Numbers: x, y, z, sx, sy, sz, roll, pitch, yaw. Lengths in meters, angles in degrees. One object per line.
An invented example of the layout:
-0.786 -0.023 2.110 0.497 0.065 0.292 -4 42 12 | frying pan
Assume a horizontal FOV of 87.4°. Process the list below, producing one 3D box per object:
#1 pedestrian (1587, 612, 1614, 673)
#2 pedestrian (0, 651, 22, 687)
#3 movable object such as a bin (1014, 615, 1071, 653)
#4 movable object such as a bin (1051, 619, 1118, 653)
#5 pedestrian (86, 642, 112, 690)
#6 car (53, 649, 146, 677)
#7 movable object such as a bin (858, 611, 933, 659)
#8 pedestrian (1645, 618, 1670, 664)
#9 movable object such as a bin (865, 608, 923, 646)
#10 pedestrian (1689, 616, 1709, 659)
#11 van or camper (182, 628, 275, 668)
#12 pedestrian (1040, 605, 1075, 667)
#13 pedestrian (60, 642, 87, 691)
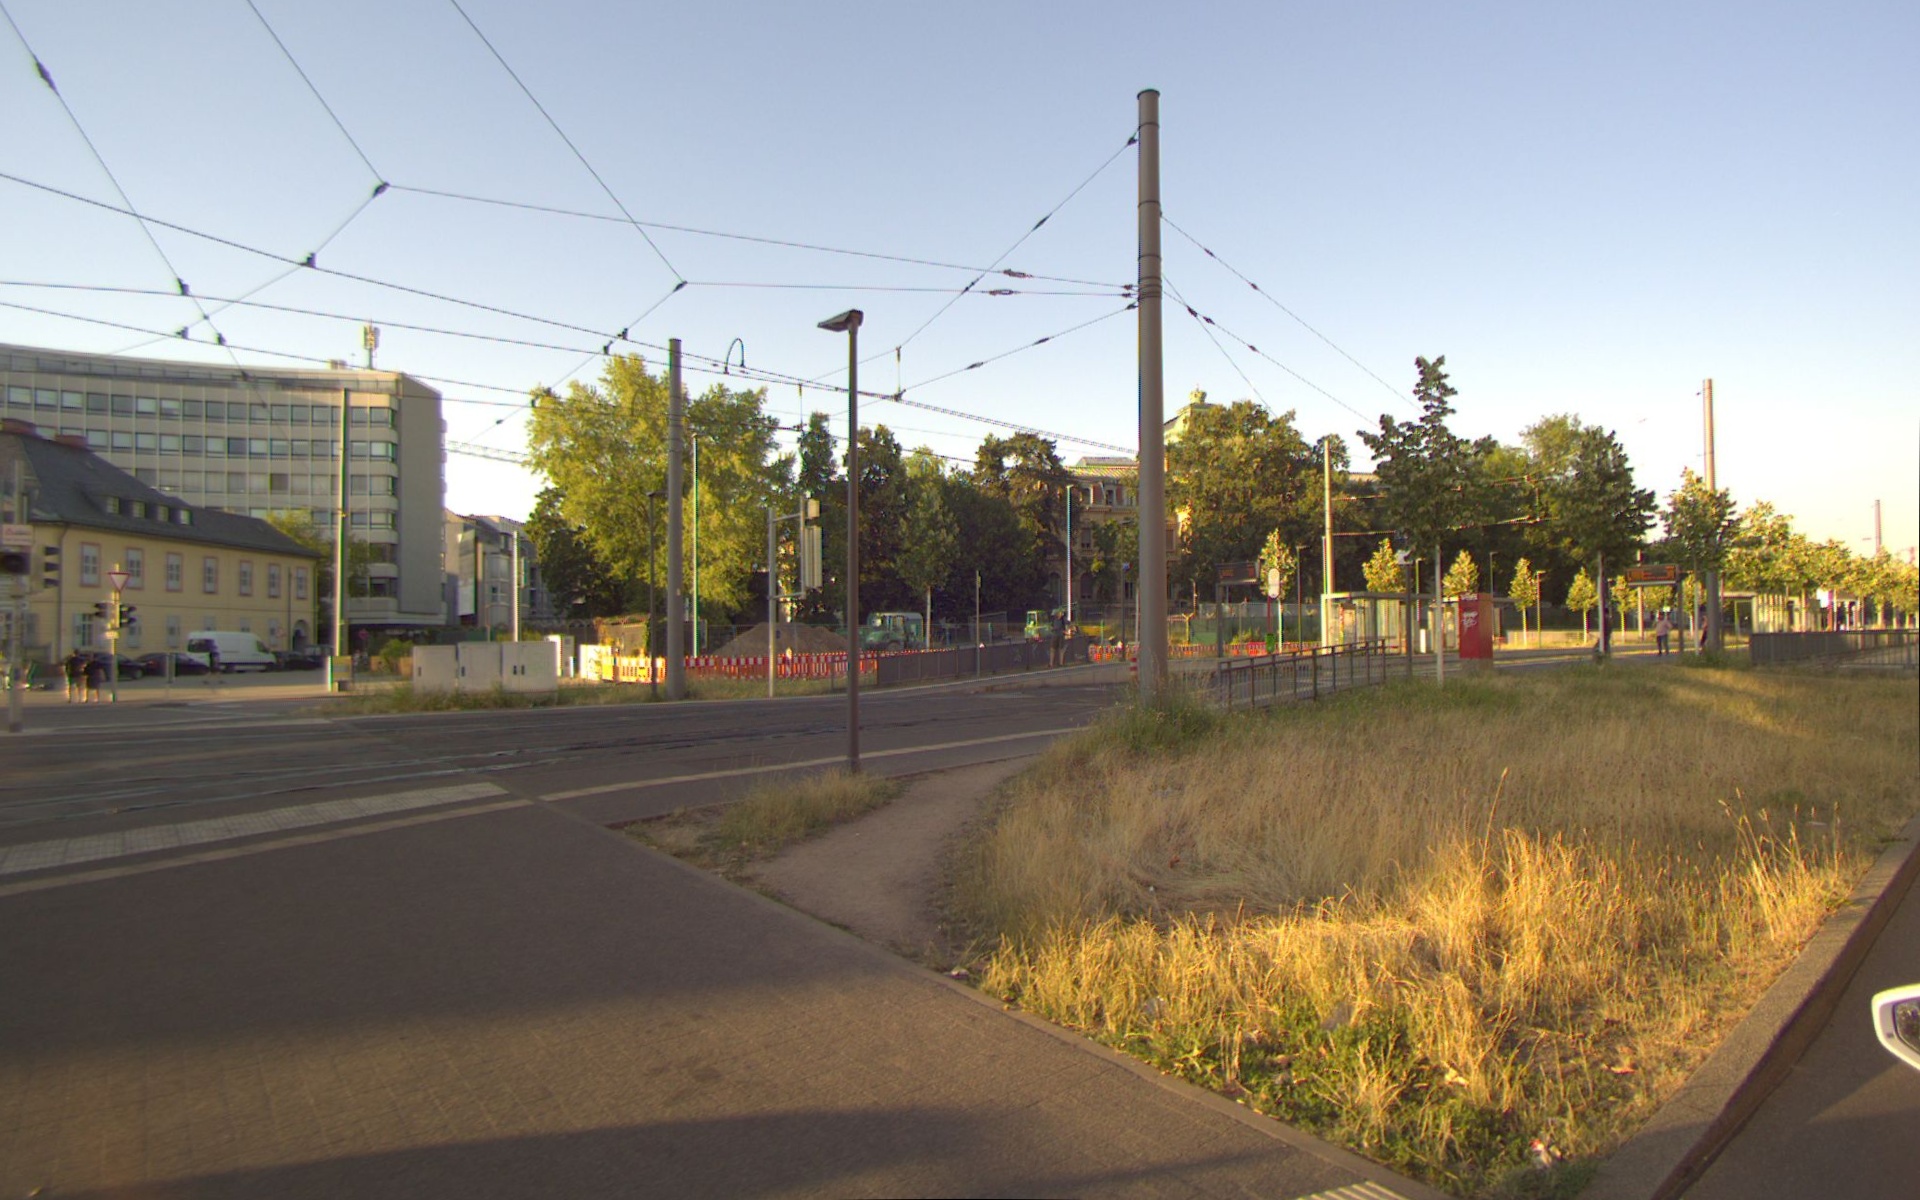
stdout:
19.487 1.283 30.550 0.620 1.810 0.468 1 -2 -35 | pedestrian
-37.309 2.703 39.291 0.642 1.359 0.590 1 -1 2 | pedestrian
6.109 2.502 74.074 3.968 2.742 1.977 1 -2 -40 | movable object such as a bin
8.870 2.548 71.351 4.899 2.276 1.977 1 -2 -40 | movable object such as a bin
-27.809 2.136 32.465 0.585 1.530 0.648 1 -3 -38 | pedestrian
-44.154 3.196 51.627 1.816 1.293 3.587 -1 -2 -4 | car
-3.810 2.076 59.283 3.952 2.742 1.985 1 -2 -29 | movable object such as a bin
27.051 1.586 38.958 0.716 1.768 0.633 -2 -2 40 | pedestrian
-4.924 2.049 75.064 3.968 2.742 1.977 1 -2 -40 | movable object such as a bin
30.502 1.541 41.455 0.626 1.751 0.634 -2 -2 35 | pedestrian
-44.999 2.921 61.970 1.961 2.332 5.117 -1 -2 0 | van or camper
2.951 1.087 30.284 0.810 1.822 0.688 1 -2 -40 | pedestrian
-28.528 2.134 32.318 0.585 1.530 0.648 1 -3 -38 | pedestrian
